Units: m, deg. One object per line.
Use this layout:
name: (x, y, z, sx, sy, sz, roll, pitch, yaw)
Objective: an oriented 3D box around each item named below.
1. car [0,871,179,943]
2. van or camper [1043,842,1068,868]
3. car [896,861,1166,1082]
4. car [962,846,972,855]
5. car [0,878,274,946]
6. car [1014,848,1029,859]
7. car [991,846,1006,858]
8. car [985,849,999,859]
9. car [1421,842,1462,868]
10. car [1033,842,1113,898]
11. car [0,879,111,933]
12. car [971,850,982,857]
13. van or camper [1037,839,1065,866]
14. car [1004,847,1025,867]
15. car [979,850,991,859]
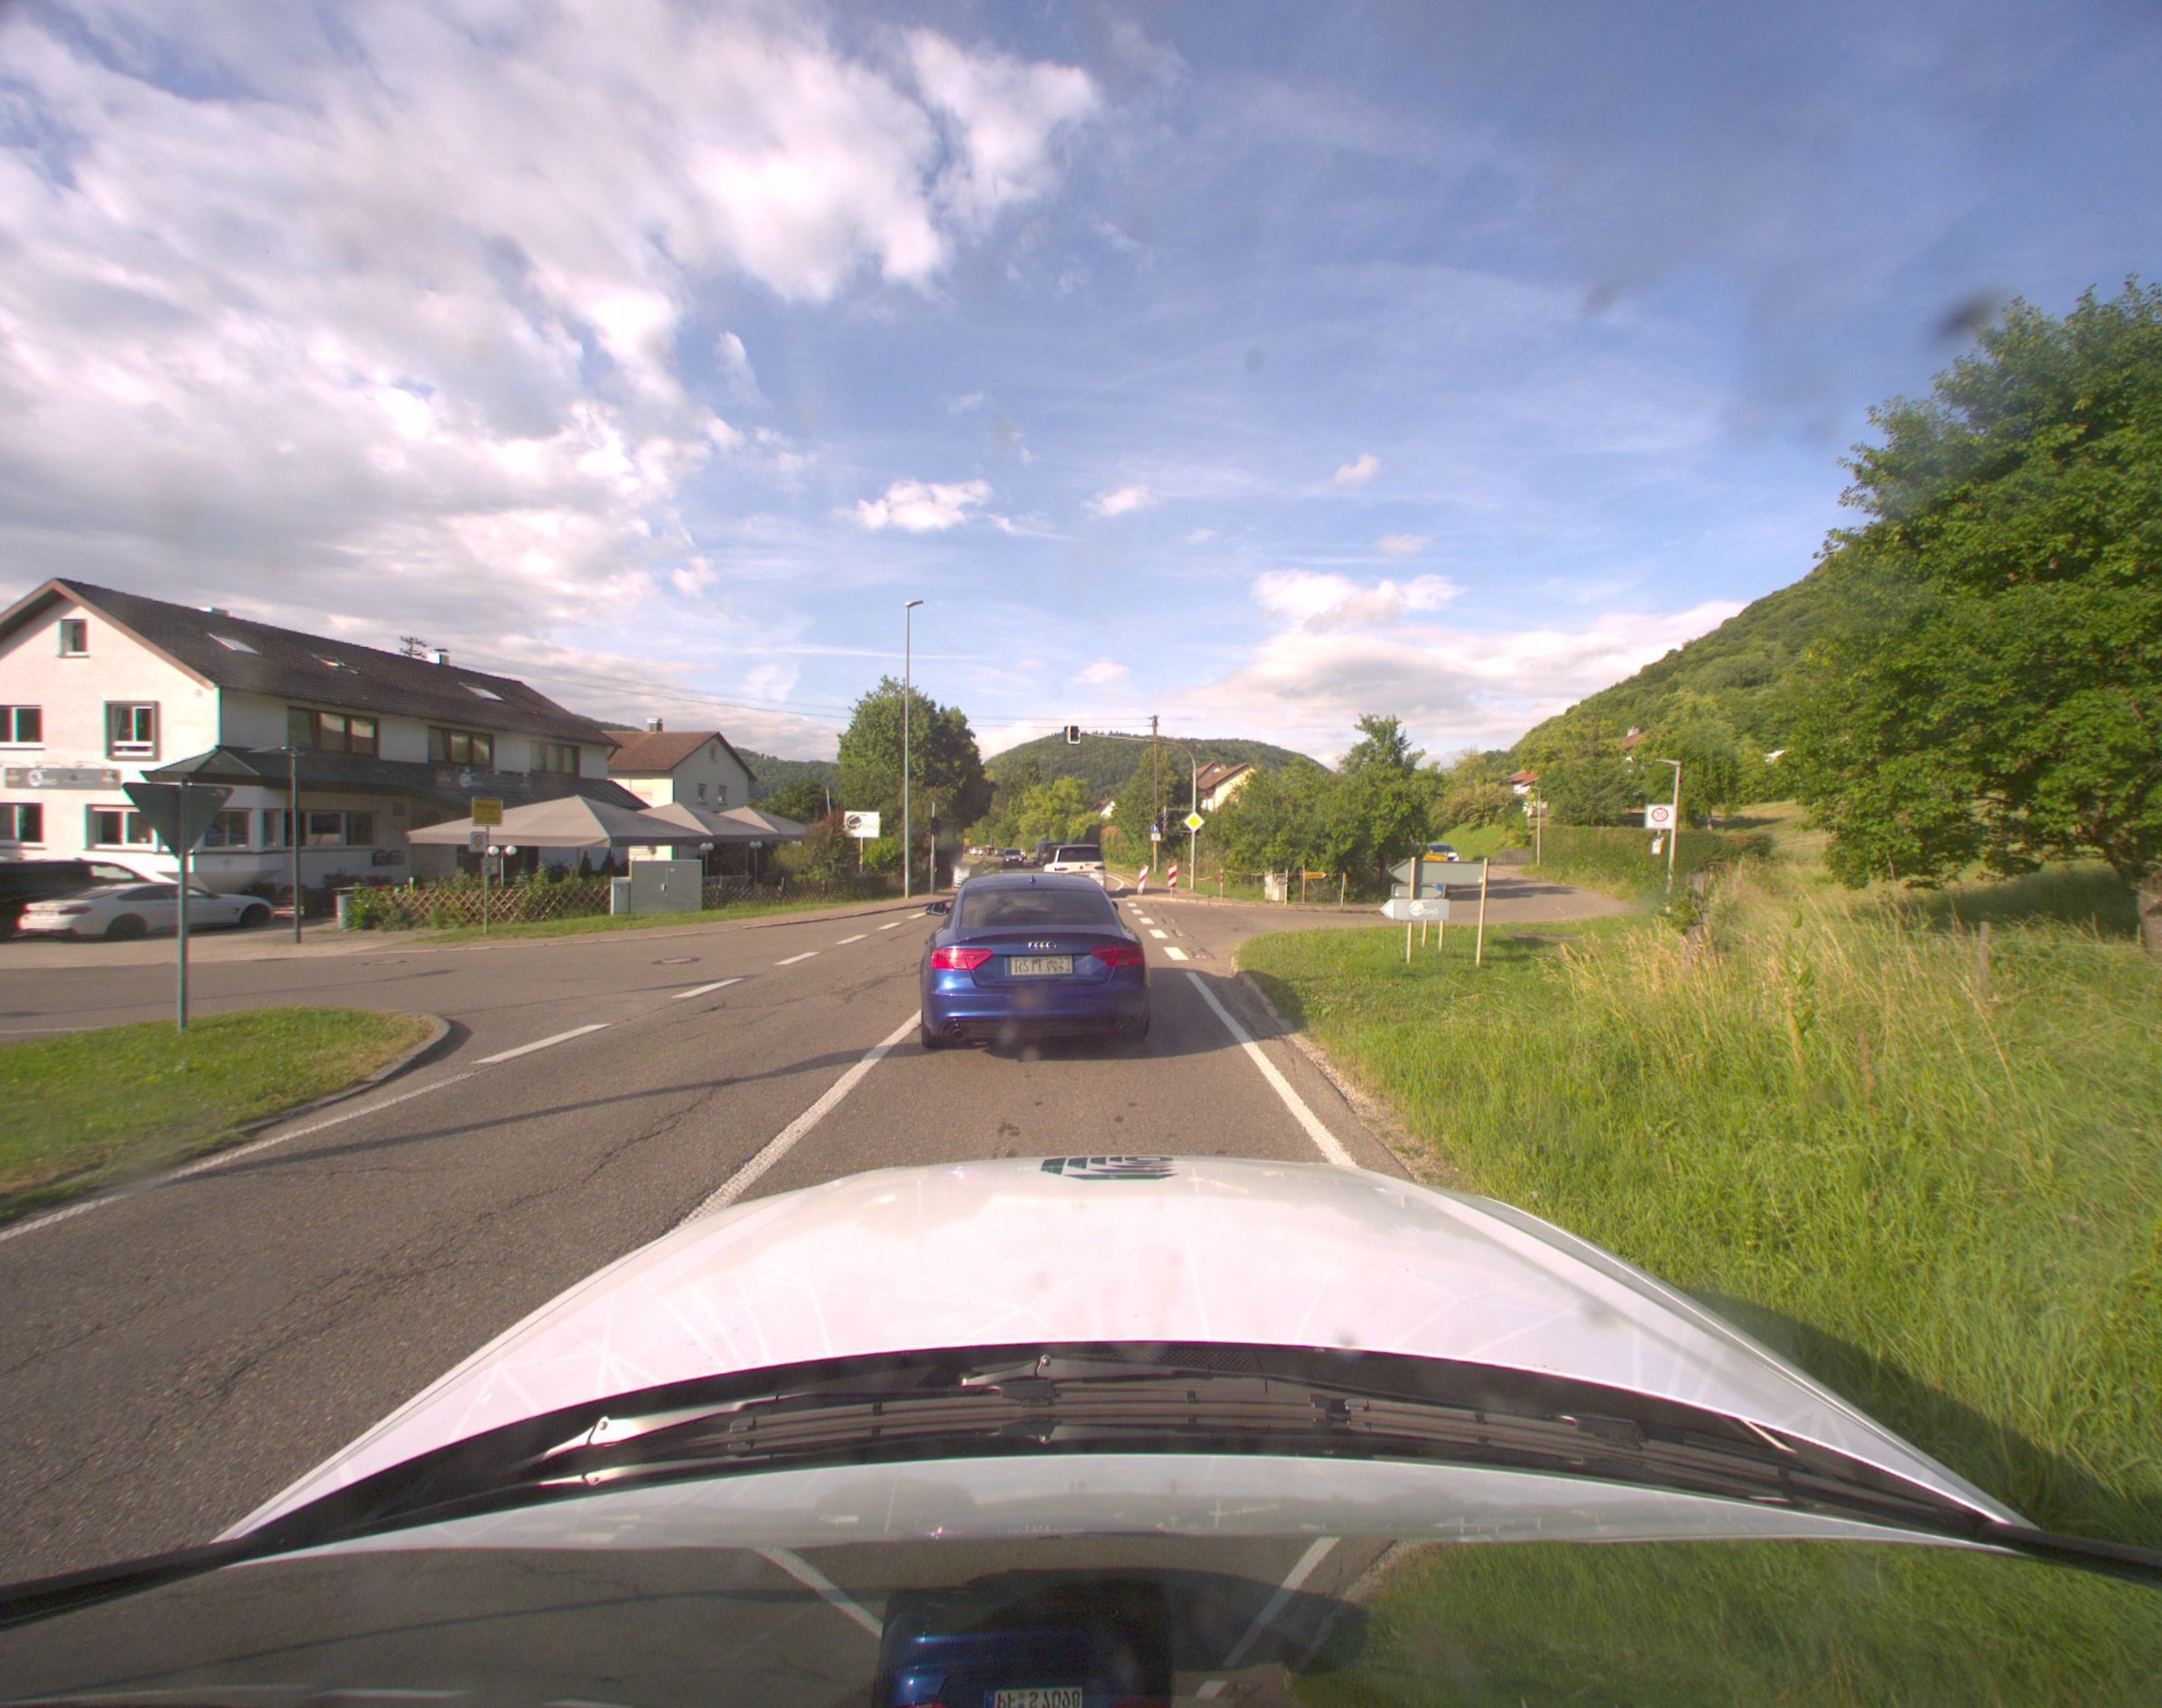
car: (-27.355, 1.363, 21.402, 1.984, 1.685, 4.582, -2, 0, 5)
van or camper: (-2.475, 0.051, 77.431, 2.176, 2.385, 5.362, -1, 0, -4)
car: (-0.544, 0.811, 7.715, 1.827, 1.409, 4.217, -2, 0, -6)
car: (-25.053, -0.739, 178.564, 1.774, 1.783, 3.982, -1, 0, -13)
car: (-24.673, 1.435, 21.463, 1.984, 1.389, 4.582, -2, 0, 5)
car: (-8.489, -0.092, 115.998, 1.819, 1.552, 3.986, -1, 0, -10)
car: (-14.181, -0.382, 139.700, 1.995, 2.013, 3.983, -1, 1, -12)
car: (-16.304, 0.007, 148.491, 2.043, 1.684, 3.982, -1, 1, -13)
car: (23.252, 0.011, 52.653, 1.853, 1.610, 4.592, 0, 1, 16)
car: (-0.400, 0.515, 30.152, 1.995, 1.876, 4.851, 1, 1, -12)
car: (-30.419, 1.498, 22.322, 1.984, 1.389, 4.582, -2, 0, 5)
car: (-21.314, -0.039, 166.011, 1.944, 1.424, 3.982, -1, 0, -13)
van or camper: (-3.402, -0.147, 91.401, 2.414, 2.904, 6.113, -1, 0, -9)
car: (-6.710, 0.272, 82.049, 1.991, 1.903, 5.242, -2, 1, -6)
car: (-18.549, 0.025, 157.093, 1.944, 1.684, 3.982, -2, 0, -13)
